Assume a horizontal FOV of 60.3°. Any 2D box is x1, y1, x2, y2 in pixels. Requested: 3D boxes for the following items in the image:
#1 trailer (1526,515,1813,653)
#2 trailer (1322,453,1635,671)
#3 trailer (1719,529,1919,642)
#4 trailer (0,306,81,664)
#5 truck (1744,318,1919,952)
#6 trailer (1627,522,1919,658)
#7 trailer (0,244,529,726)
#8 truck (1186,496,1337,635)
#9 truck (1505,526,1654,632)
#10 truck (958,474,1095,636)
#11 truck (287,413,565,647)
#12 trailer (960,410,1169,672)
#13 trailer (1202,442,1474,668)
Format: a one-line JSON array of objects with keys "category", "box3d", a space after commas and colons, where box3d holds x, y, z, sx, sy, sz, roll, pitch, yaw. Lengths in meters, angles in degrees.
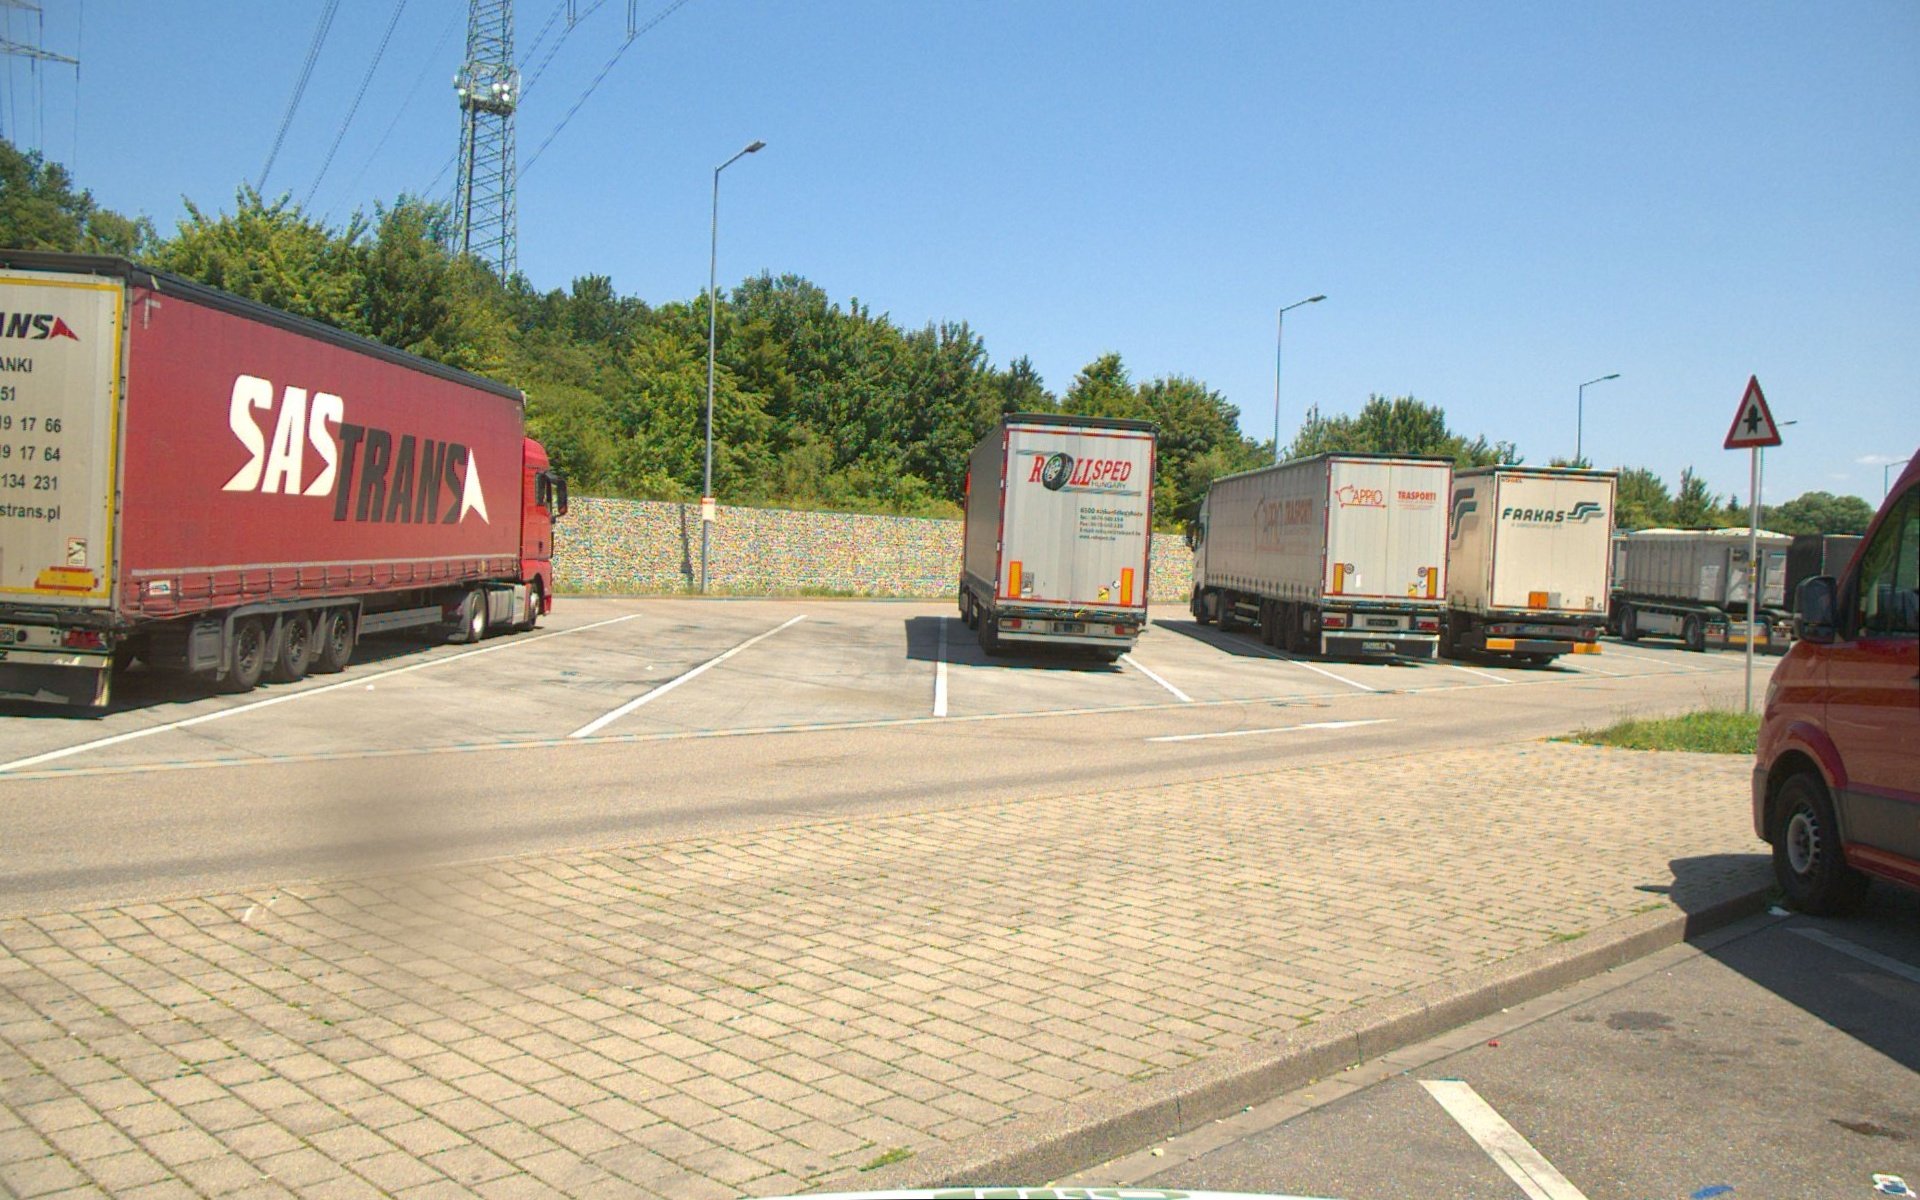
[{"category": "trailer", "box3d": [21.823, -0.684, 52.261, 2.800, 3.662, 13.762, 2, 2, -1]}, {"category": "trailer", "box3d": [11.757, -0.993, 39.581, 2.800, 4.180, 13.762, 2, 2, -1]}, {"category": "trailer", "box3d": [34.775, -0.713, 65.460, 2.800, 3.972, 13.762, 2, 2, -1]}, {"category": "trailer", "box3d": [-12.498, -1.260, 15.808, 2.651, 4.173, 10.389, 2, 2, -1]}, {"category": "truck", "box3d": [4.983, 0.159, 5.532, 1.969, 2.697, 6.457, 1, 0, 3]}, {"category": "trailer", "box3d": [25.705, -0.519, 52.926, 2.800, 3.662, 13.762, 2, 2, -1]}, {"category": "trailer", "box3d": [-8.702, -1.272, 21.265, 2.764, 4.141, 13.763, 2, 2, -1]}, {"category": "truck", "box3d": [8.114, -0.988, 45.279, 2.808, 3.421, 5.974, 2, 2, -1]}, {"category": "truck", "box3d": [21.724, -0.799, 58.356, 2.808, 3.421, 5.974, 2, 2, -1]}, {"category": "truck", "box3d": [1.463, -1.095, 39.360, 2.808, 3.421, 5.974, 2, 2, -1]}, {"category": "truck", "box3d": [-8.811, -1.165, 28.081, 2.755, 3.421, 5.974, 2, 2, -1]}, {"category": "trailer", "box3d": [1.664, -1.178, 33.163, 2.800, 4.040, 13.761, 2, 2, -2]}, {"category": "trailer", "box3d": [8.237, -1.104, 38.516, 2.800, 4.180, 13.762, 2, 2, -1]}]
